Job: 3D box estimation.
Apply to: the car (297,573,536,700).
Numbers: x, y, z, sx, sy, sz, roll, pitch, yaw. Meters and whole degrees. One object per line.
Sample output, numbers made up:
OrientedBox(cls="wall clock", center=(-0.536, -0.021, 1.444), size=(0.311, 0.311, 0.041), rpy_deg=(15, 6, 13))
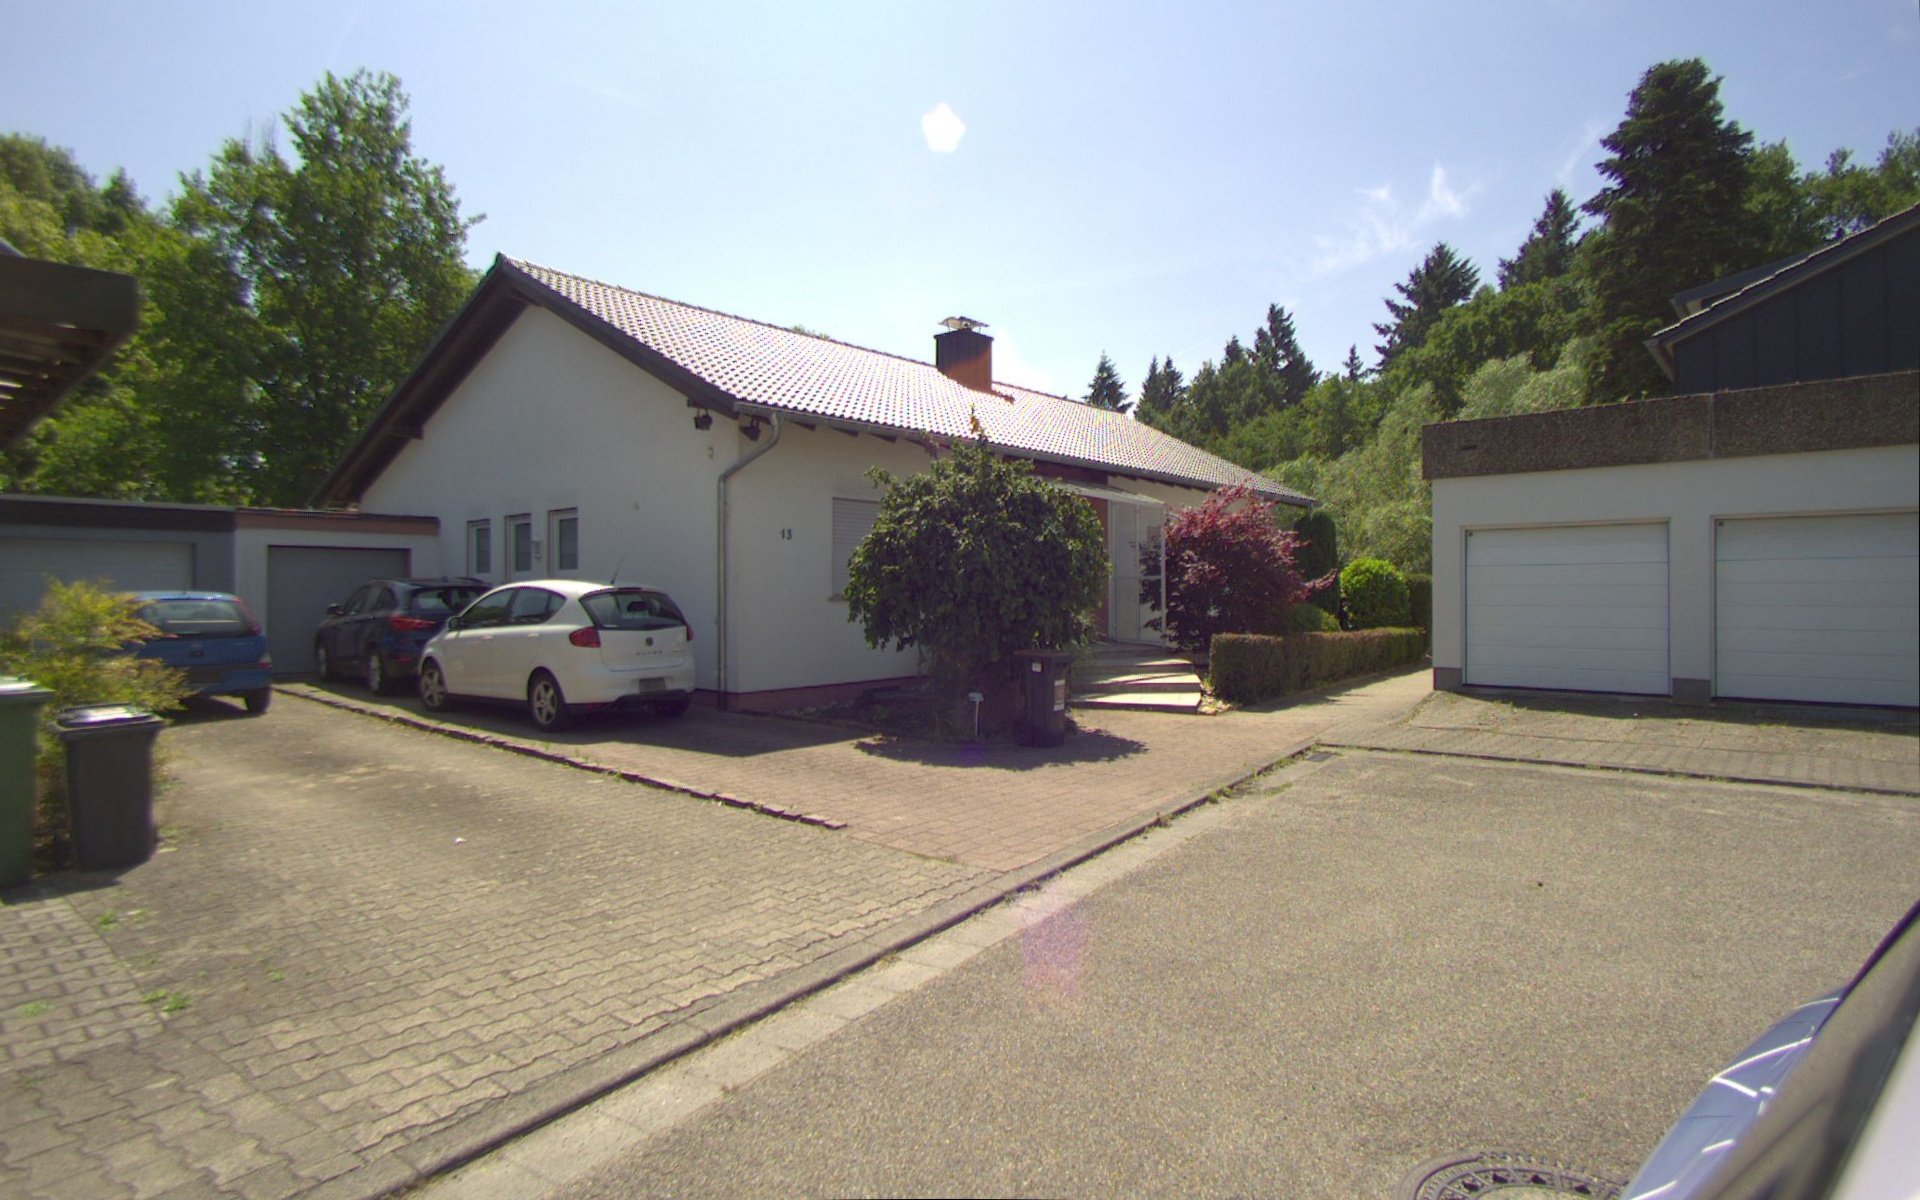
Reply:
OrientedBox(cls="car", center=(-8.158, 0.422, 15.066), size=(3.984, 1.628, 1.900), rpy_deg=(1, 2, 42))

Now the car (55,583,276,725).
OrientedBox(cls="car", center=(-9.861, 0.559, 12.496), size=(3.241, 1.473, 1.596), rpy_deg=(2, 1, 41))

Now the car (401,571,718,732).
OrientedBox(cls="car", center=(-4.800, 0.484, 11.906), size=(3.979, 1.588, 1.728), rpy_deg=(0, 1, 38))

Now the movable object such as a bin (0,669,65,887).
OrientedBox(cls="movable object such as a bin", center=(-5.035, 0.913, 5.167), size=(0.488, 1.054, 0.586), rpy_deg=(0, 1, 33))

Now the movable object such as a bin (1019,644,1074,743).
OrientedBox(cls="movable object such as a bin", center=(0.835, 0.890, 9.774), size=(0.389, 0.902, 0.370), rpy_deg=(0, 1, 40))

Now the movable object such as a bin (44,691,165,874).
OrientedBox(cls="movable object such as a bin", center=(-4.714, 0.981, 5.582), size=(0.423, 0.902, 0.403), rpy_deg=(0, 1, 34))
